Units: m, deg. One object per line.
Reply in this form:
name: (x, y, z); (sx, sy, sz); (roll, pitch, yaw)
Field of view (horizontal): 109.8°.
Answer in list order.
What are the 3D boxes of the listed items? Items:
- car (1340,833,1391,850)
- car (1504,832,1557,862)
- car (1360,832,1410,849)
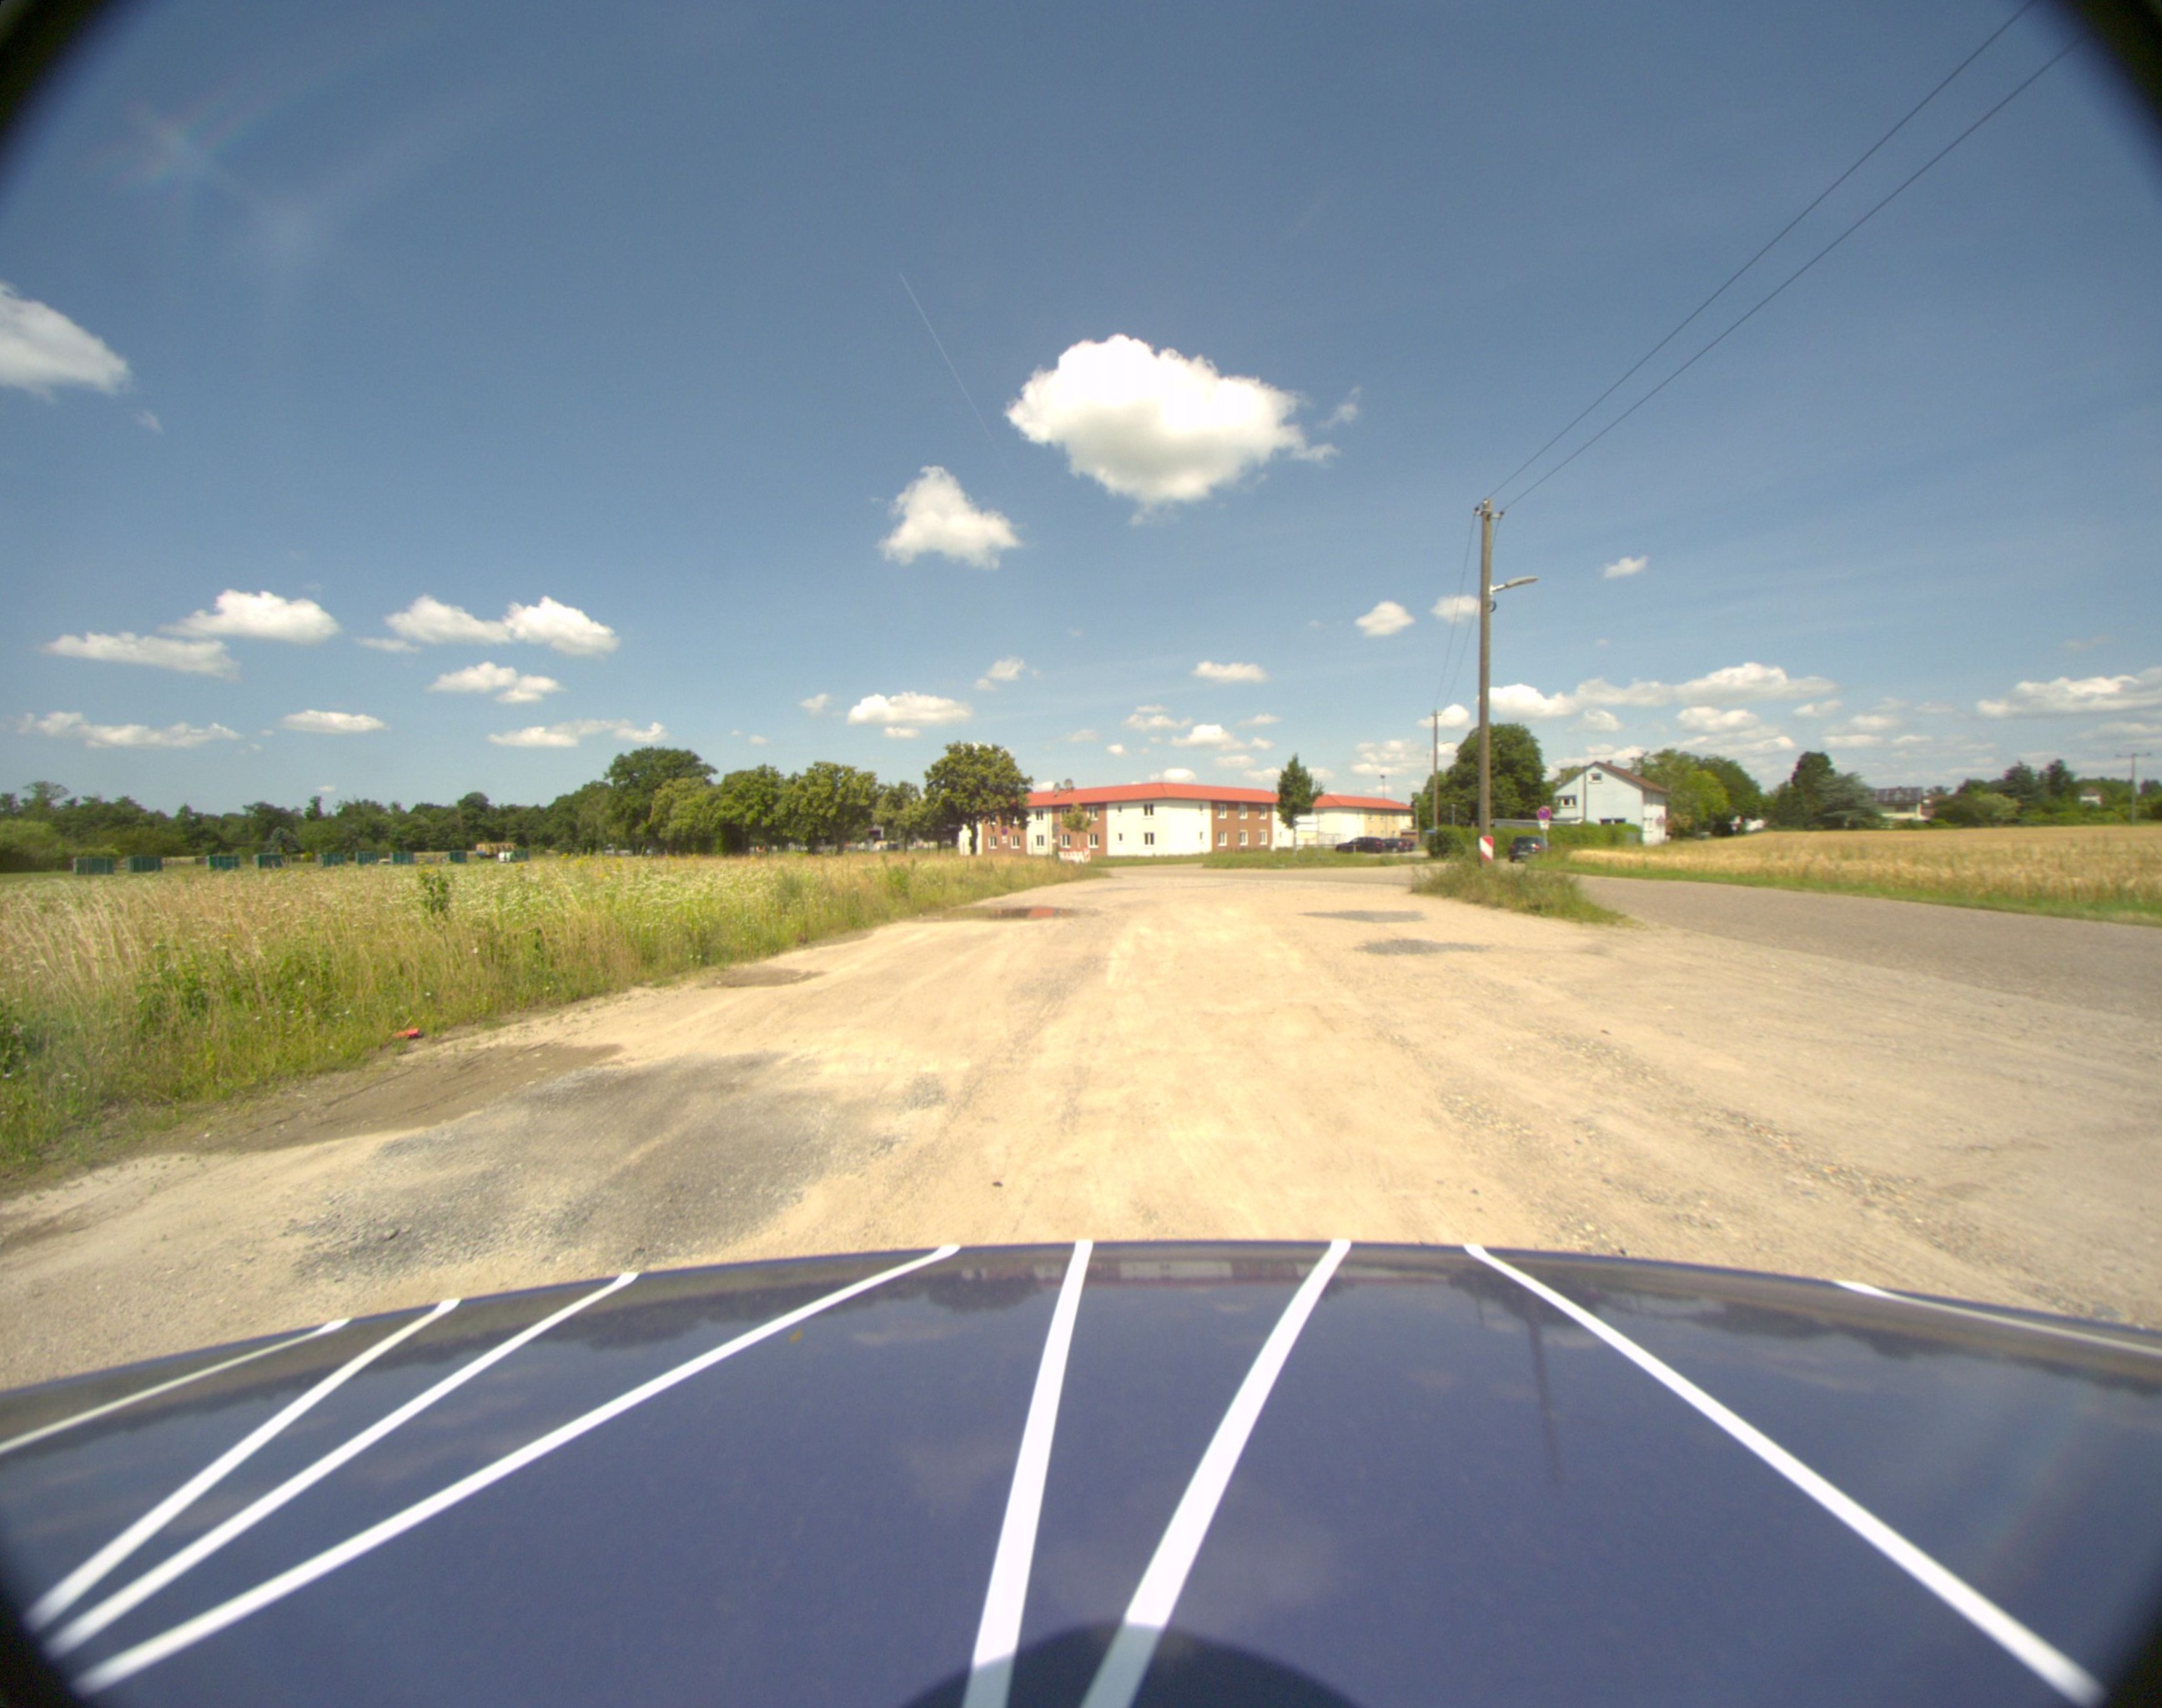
car: (27.015, -1.160, 72.240); (4.136, 1.605, 2.004); (0, 2, 43)
car: (27.422, -0.435, 46.286); (4.263, 1.670, 1.744); (-4, 2, -44)
car: (29.959, -1.316, 74.876); (4.136, 1.605, 2.004); (0, 2, 43)
